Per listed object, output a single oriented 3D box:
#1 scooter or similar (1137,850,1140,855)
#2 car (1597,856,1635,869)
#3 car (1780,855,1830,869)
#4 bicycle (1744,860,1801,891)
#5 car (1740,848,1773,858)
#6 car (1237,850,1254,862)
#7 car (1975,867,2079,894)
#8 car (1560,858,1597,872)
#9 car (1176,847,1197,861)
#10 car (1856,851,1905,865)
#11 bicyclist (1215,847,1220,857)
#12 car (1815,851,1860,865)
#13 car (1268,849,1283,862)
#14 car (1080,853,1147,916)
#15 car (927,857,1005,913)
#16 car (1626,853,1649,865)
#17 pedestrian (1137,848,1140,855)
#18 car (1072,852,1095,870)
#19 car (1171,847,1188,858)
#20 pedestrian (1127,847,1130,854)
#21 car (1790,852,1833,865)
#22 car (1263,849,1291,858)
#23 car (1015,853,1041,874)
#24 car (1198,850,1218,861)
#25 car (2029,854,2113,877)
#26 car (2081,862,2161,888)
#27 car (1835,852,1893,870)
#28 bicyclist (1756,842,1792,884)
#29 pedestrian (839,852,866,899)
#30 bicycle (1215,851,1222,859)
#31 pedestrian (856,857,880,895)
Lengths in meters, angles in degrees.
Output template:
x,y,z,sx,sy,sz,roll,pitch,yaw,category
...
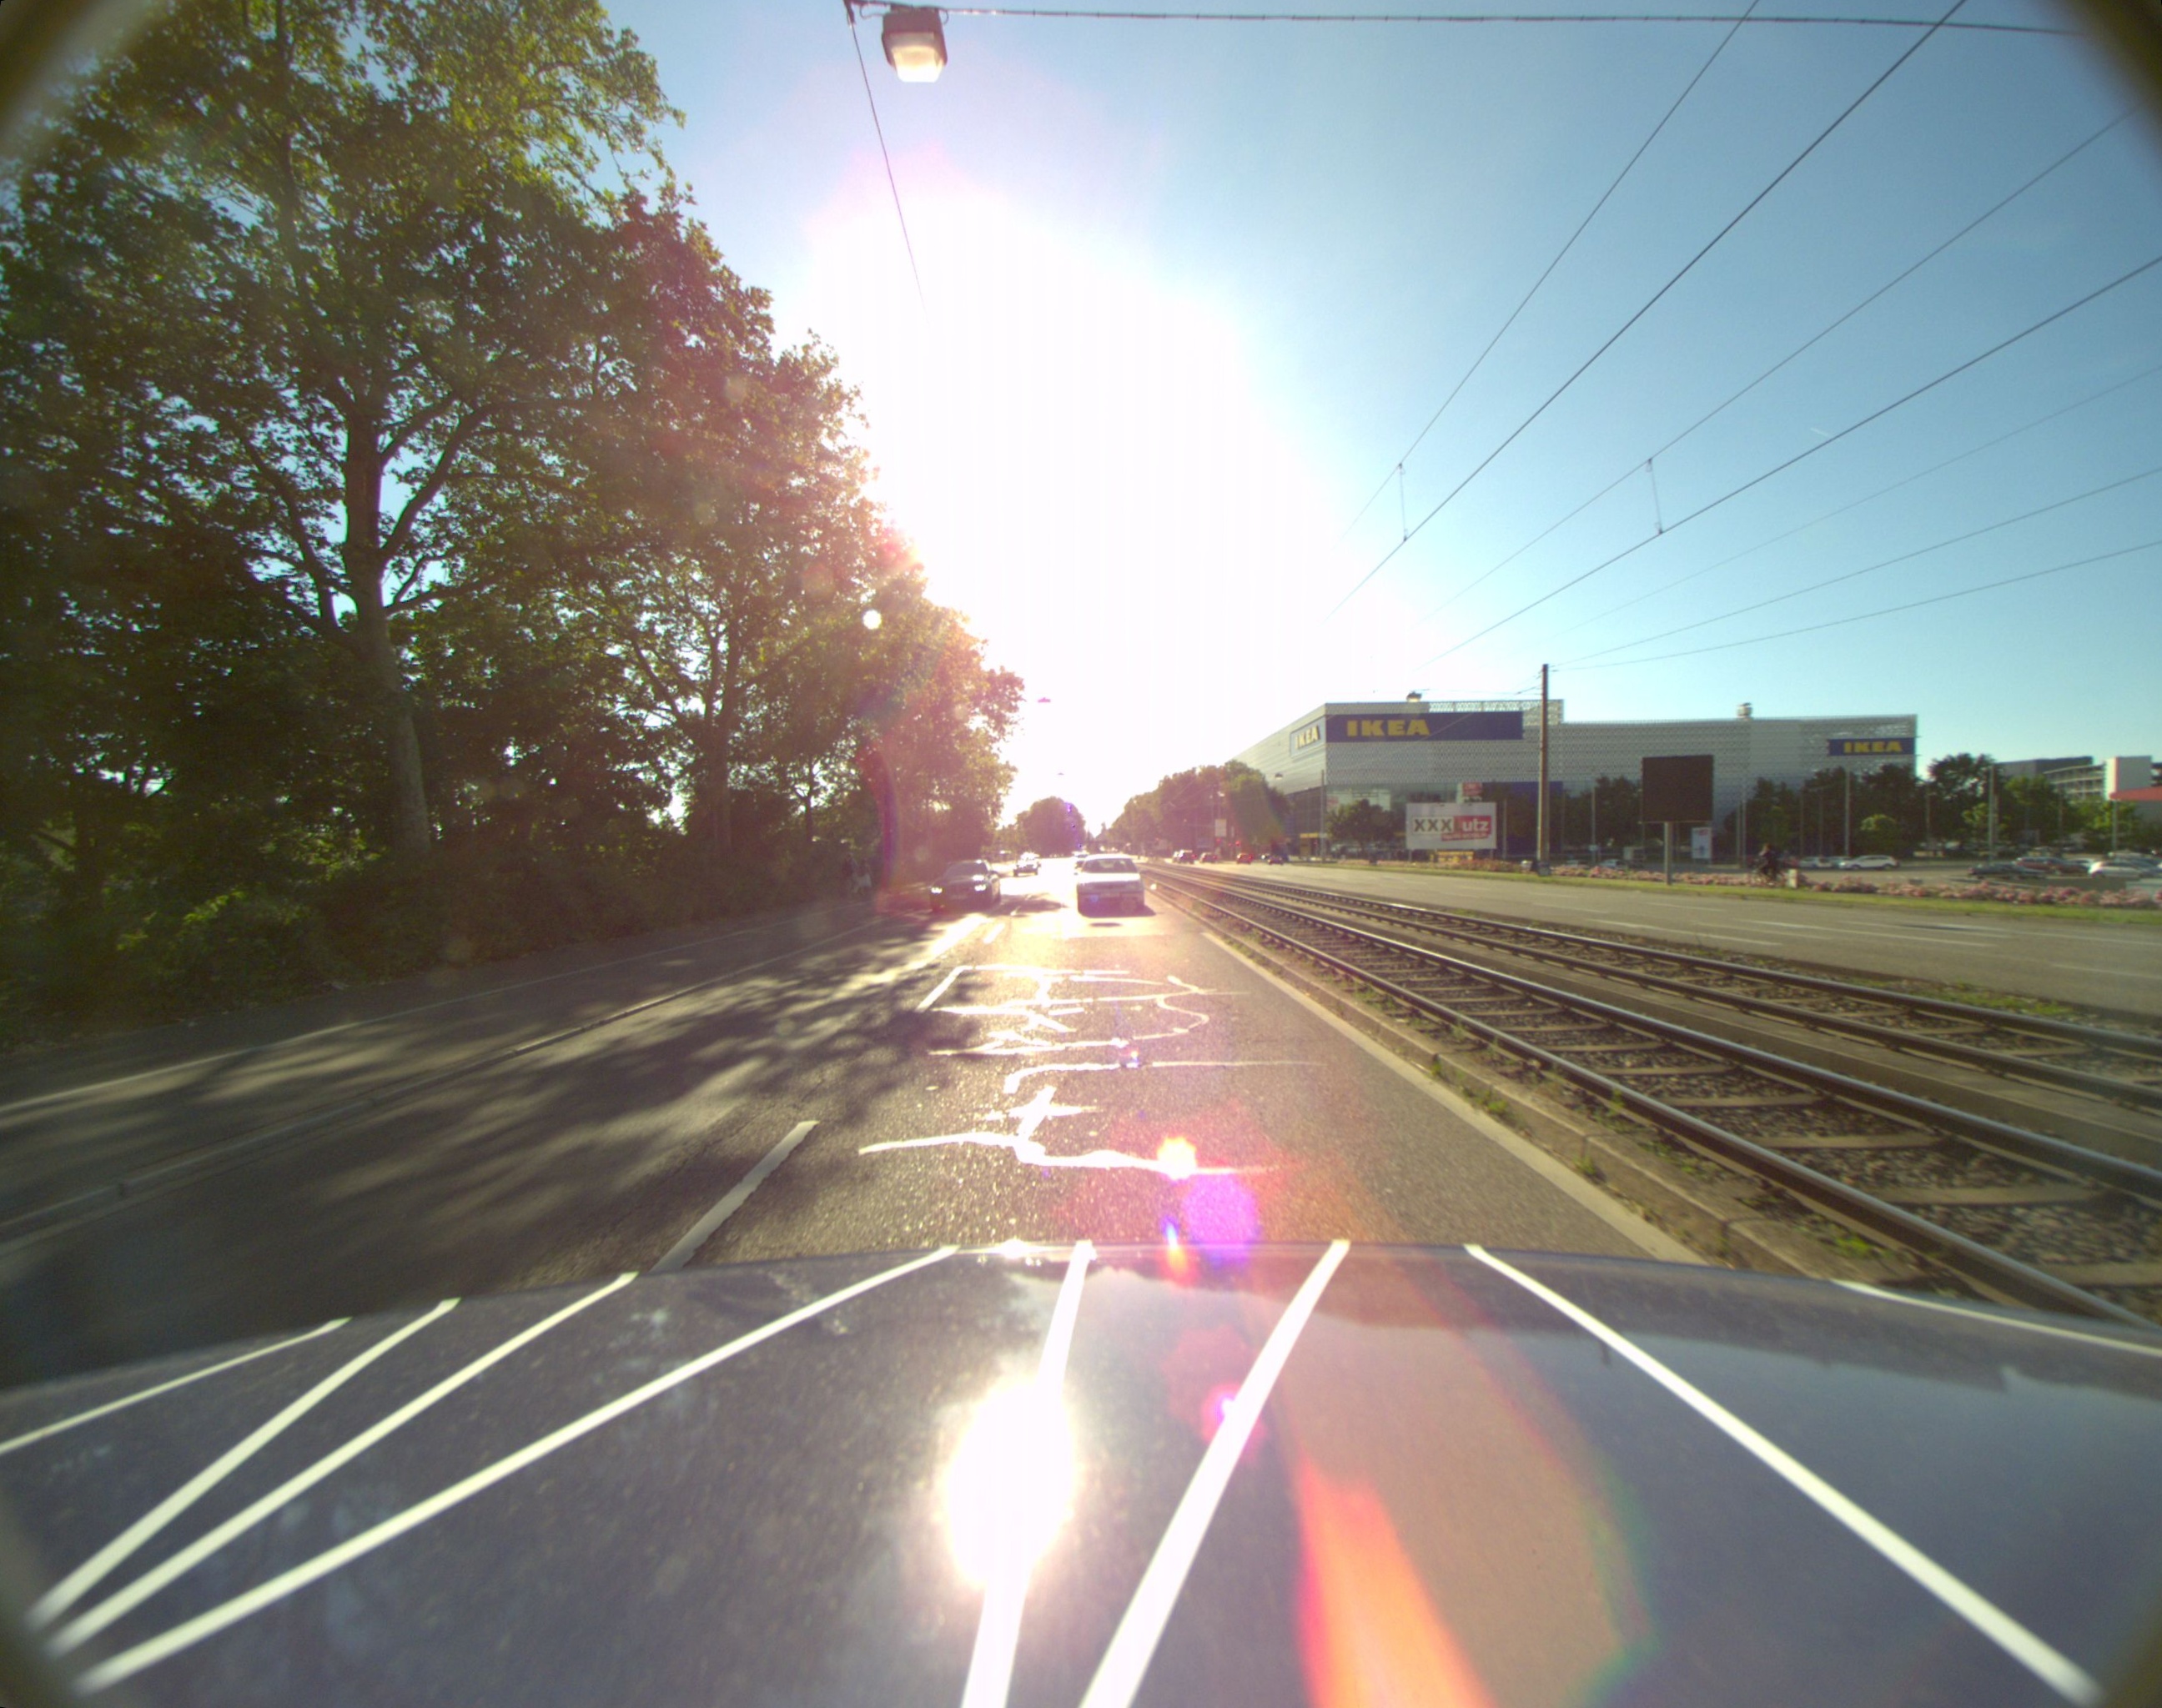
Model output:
x,y,z,sx,sy,sz,roll,pitch,yaw,category
14.323,-0.404,188.869,0.666,1.227,1.372,-1,1,0,scooter or similar
68.944,1.106,98.000,1.935,1.583,3.999,-3,0,-3,car
88.465,0.987,92.873,1.672,1.543,4.437,-3,0,-4,car
27.484,0.830,30.236,0.662,1.144,2.023,-3,0,10,bicycle
105.007,-0.114,118.092,3.583,1.452,1.770,1,1,-1,car
21.420,0.203,99.163,1.938,1.468,4.134,1,1,9,car
68.936,1.901,55.488,1.926,1.692,4.448,-3,0,-1,car
64.113,1.397,97.972,1.935,1.734,3.999,-3,0,-3,car
13.041,-0.032,94.393,1.998,1.646,4.658,0,0,1,car
100.945,0.503,96.029,1.998,1.646,4.000,-1,0,1,car
20.655,-0.254,114.685,0.589,1.514,0.751,-2,1,1,bicyclist
96.083,0.492,96.613,1.800,1.646,4.000,-1,0,1,car
25.218,0.239,98.339,1.823,1.633,4.005,0,0,15,car
0.806,0.749,20.454,1.602,1.440,3.799,-2,1,1,car
-3.513,0.886,23.991,1.871,1.459,4.584,-2,1,-2,car
80.787,0.703,110.329,1.904,1.559,4.254,-3,0,25,car
14.517,-0.637,191.813,0.603,1.611,0.690,-3,1,5,pedestrian
0.253,0.588,68.183,1.871,1.422,3.831,-3,0,2,car
13.134,-0.246,101.888,1.788,1.439,4.108,0,0,1,car
12.895,-0.942,208.028,0.763,1.700,0.678,0,1,2,pedestrian
93.281,0.570,97.115,1.727,1.646,4.000,-1,0,1,car
33.261,-0.083,128.947,4.253,1.489,2.016,1,1,5,car
-4.011,0.699,57.823,1.857,1.415,3.978,-2,0,-4,car
16.738,0.203,100.115,1.861,1.452,4.137,-1,0,-1,car
85.689,0.957,65.857,1.999,1.803,3.999,-3,0,-1,car
77.790,1.541,56.365,1.926,1.692,3.999,-3,0,-1,car
89.737,0.762,87.178,4.220,1.789,1.829,-3,1,21,car
27.428,0.332,30.082,0.662,1.614,0.801,-3,1,10,bicyclist
-8.376,0.773,27.887,0.724,1.698,0.813,0,1,0,pedestrian
20.700,0.129,114.470,0.589,1.161,1.992,-2,0,1,bicycle
-8.315,0.860,29.656,0.725,1.472,0.722,0,1,0,pedestrian
